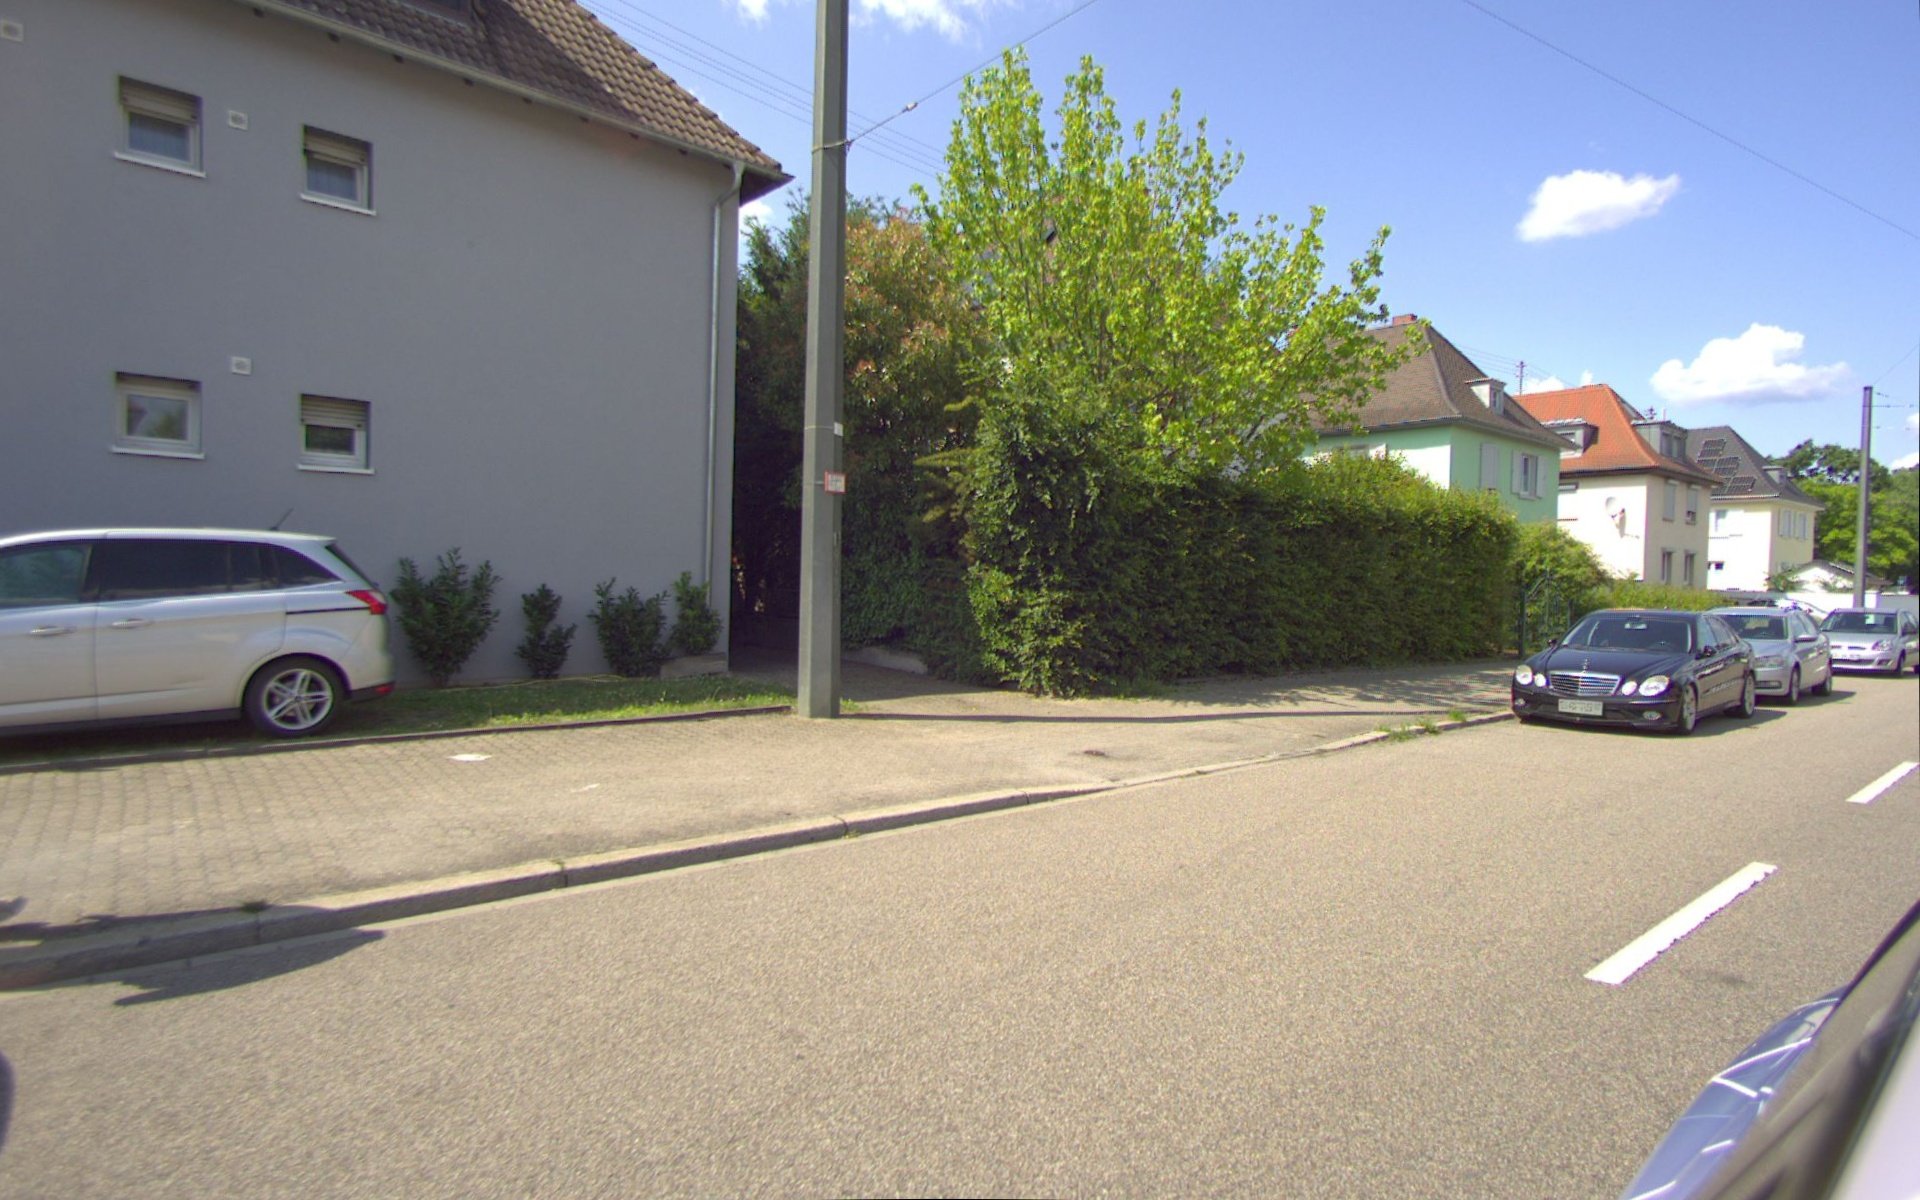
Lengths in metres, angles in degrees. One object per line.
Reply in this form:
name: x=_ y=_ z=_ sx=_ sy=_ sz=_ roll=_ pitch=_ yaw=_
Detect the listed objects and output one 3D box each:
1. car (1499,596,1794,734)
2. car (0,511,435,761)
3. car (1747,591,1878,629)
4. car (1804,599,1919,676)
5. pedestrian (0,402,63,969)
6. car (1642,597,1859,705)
car: x=9.038 y=0.707 z=13.137 sx=4.967 sy=1.462 sz=1.904 roll=1 pitch=0 yaw=-40
car: x=-6.765 y=0.198 z=7.634 sx=4.690 sy=1.667 sz=1.759 roll=-1 pitch=3 yaw=-44
car: x=40.488 y=0.448 z=48.183 sx=1.731 sy=1.479 sz=4.464 roll=1 pitch=3 yaw=-37
car: x=20.273 y=0.748 z=22.315 sx=4.019 sy=1.508 sz=1.741 roll=0 pitch=1 yaw=-38
pedestrian: x=-3.993 y=0.286 z=3.674 sx=1.072 sy=1.970 sz=1.114 roll=0 pitch=2 yaw=-41
car: x=13.084 y=0.715 z=16.626 sx=4.918 sy=1.473 sz=1.893 roll=-1 pitch=1 yaw=-41
